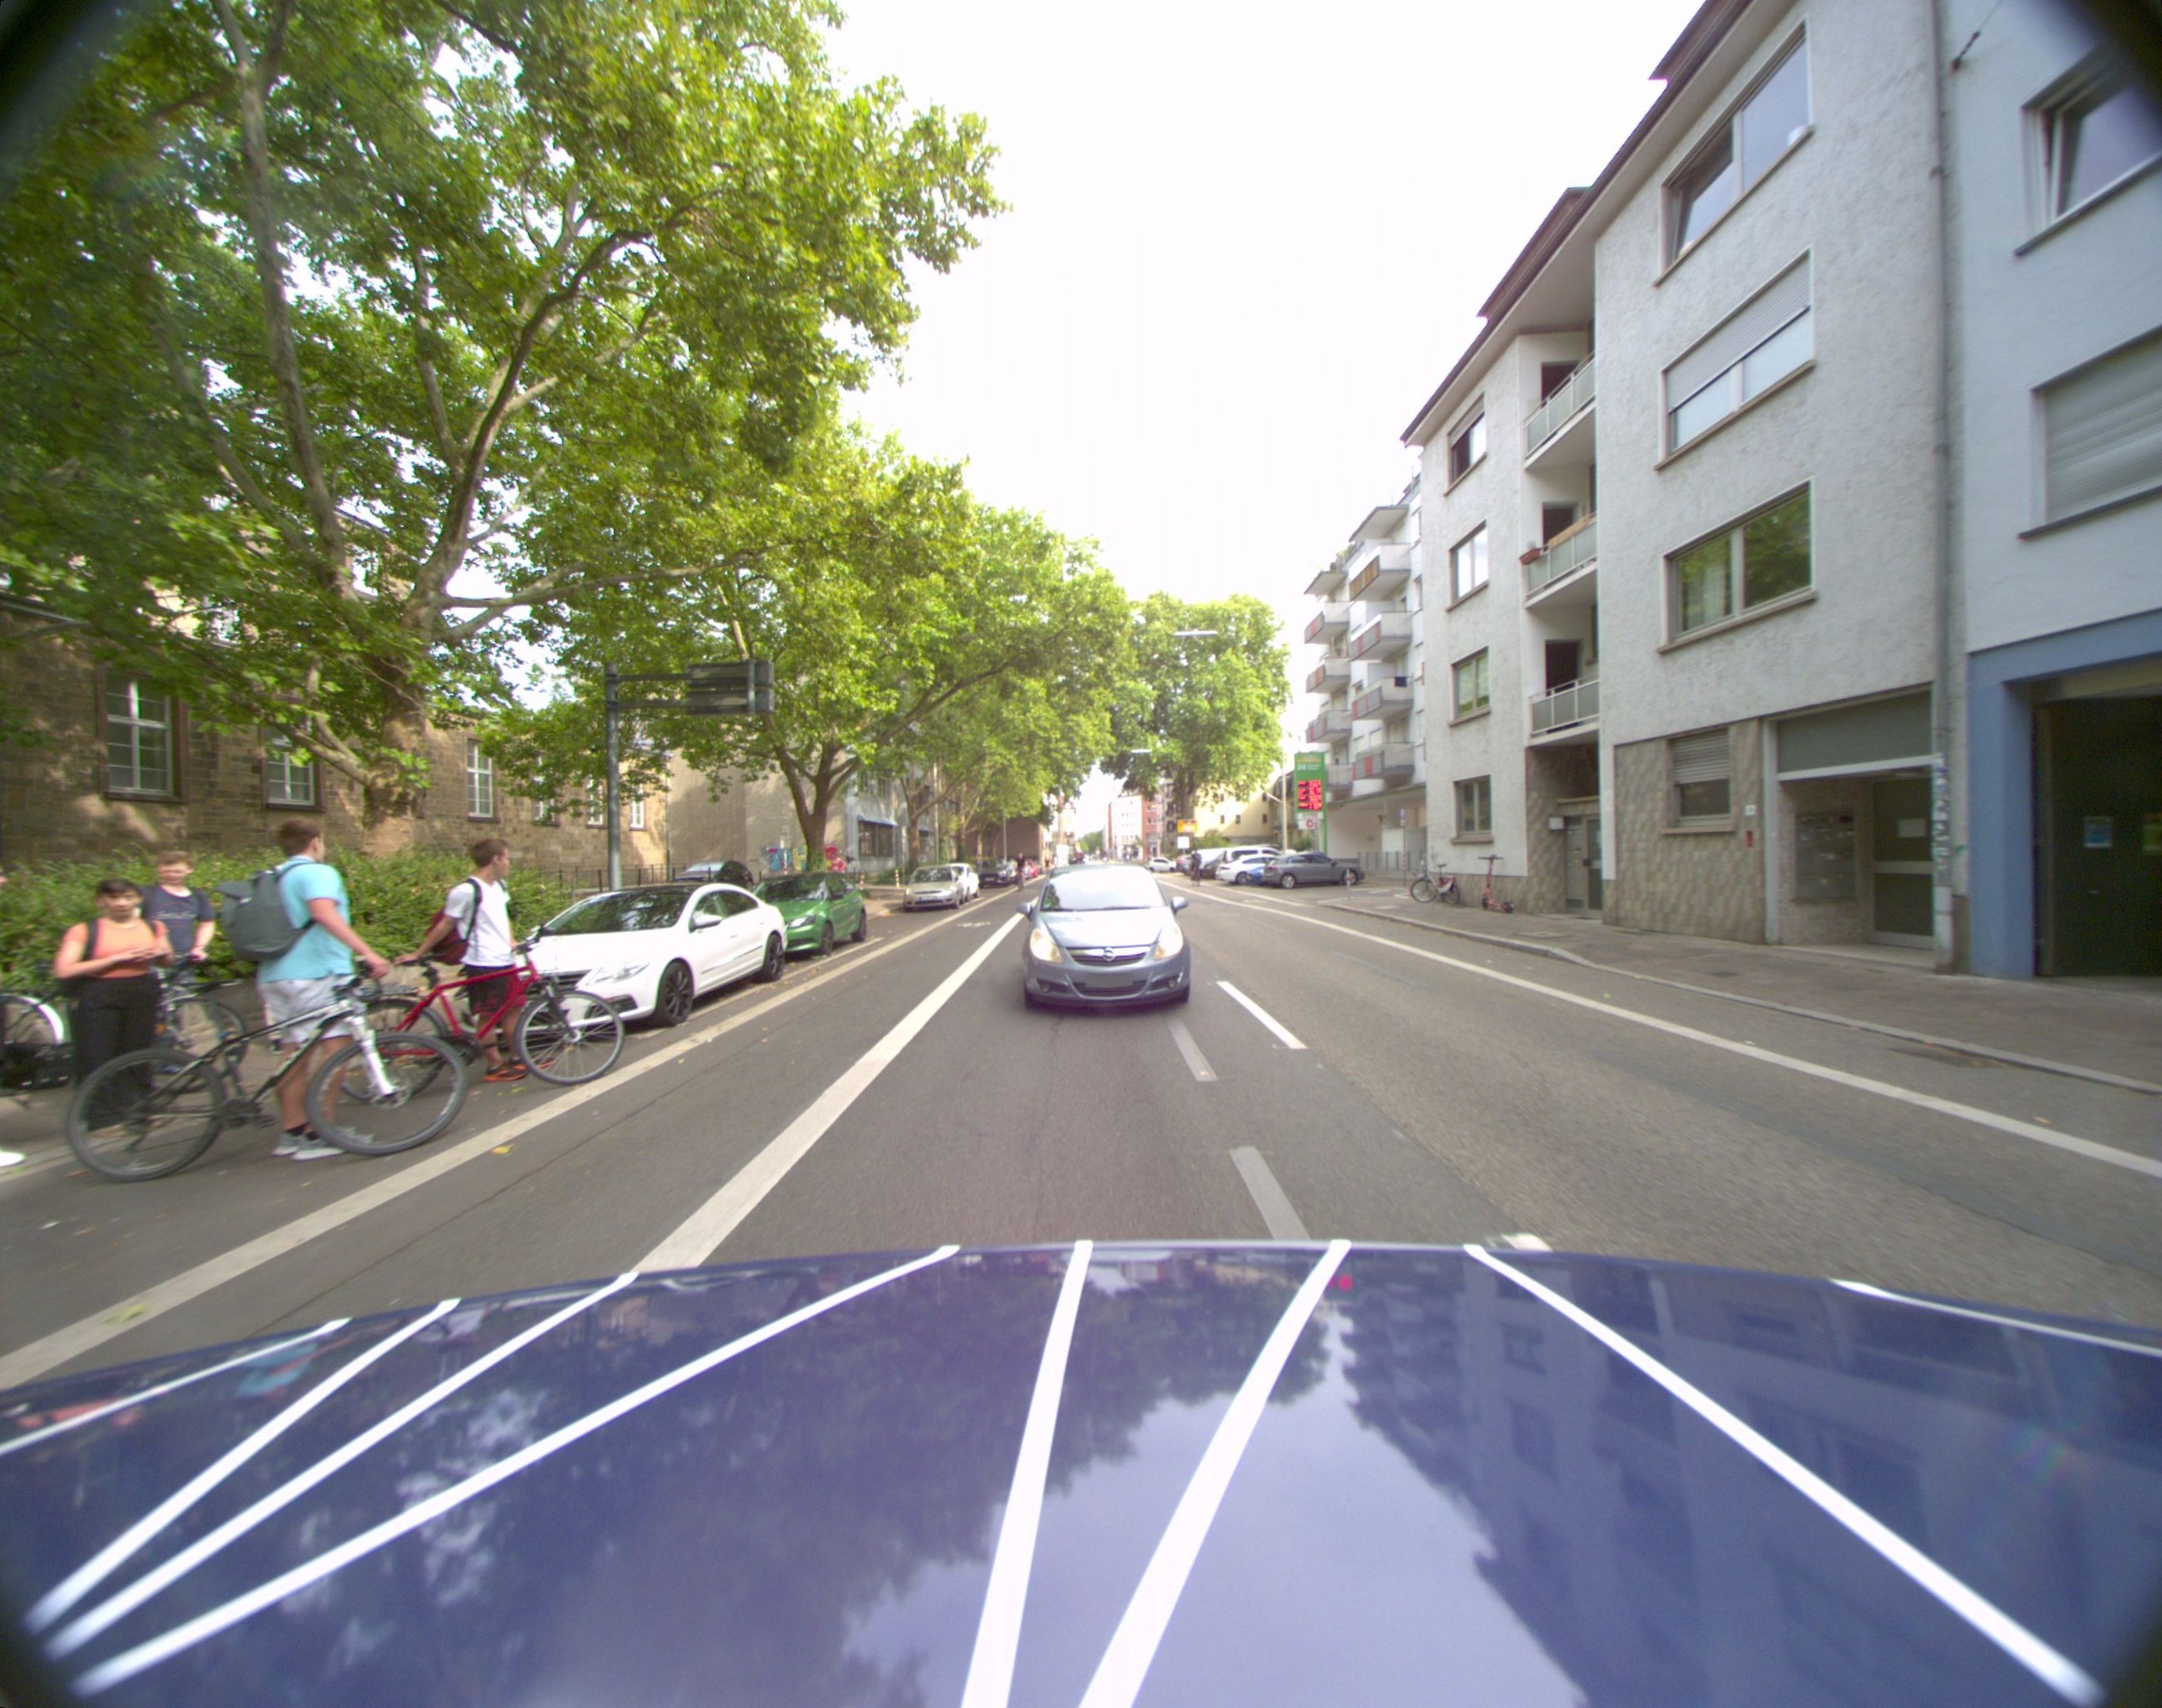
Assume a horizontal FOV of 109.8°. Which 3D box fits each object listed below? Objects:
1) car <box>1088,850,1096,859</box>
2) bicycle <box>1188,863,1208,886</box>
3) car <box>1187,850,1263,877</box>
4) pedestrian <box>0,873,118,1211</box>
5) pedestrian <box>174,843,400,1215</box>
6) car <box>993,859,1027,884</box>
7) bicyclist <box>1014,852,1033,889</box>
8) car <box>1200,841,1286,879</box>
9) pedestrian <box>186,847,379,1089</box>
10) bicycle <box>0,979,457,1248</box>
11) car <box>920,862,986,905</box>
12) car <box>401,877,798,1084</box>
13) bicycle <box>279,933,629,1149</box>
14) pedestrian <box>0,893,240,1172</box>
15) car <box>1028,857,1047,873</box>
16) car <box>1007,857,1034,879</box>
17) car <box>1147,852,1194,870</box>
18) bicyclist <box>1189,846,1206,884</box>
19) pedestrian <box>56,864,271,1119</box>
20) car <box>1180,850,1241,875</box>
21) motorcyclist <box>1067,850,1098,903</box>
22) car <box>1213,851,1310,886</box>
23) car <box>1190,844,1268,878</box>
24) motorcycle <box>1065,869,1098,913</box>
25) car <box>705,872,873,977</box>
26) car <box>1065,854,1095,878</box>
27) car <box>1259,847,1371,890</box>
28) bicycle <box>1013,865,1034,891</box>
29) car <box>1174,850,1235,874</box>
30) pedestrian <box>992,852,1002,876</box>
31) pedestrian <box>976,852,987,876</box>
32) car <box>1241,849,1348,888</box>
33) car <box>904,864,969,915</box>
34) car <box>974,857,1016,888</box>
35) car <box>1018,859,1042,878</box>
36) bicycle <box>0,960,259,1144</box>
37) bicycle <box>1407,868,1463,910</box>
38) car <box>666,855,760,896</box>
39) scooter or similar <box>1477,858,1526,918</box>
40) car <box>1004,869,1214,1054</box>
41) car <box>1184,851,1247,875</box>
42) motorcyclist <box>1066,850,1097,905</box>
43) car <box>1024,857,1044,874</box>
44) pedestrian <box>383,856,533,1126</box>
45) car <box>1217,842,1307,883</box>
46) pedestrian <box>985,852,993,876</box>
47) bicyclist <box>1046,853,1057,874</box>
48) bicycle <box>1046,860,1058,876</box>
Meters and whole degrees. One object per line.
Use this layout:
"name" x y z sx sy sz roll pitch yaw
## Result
"car" 2.968 0.152 208.362 1.998 2.546 4.799 -2 0 1
"bicycle" 5.735 1.000 37.375 0.647 1.008 2.076 -2 1 0
"car" 9.745 0.624 51.647 4.716 1.461 1.874 -4 0 1
"pedestrian" -6.299 1.039 4.190 0.873 1.806 0.780 -2 1 0
"pedestrian" -4.491 0.911 4.359 0.476 1.923 0.744 -3 1 -11
"car" -4.543 1.080 49.143 1.644 1.424 4.573 -3 0 1
"bicyclist" -2.744 0.777 36.104 0.764 1.698 0.917 -2 1 1
"car" 9.894 0.363 46.740 4.778 1.923 1.994 -4 0 1
"pedestrian" -7.002 0.952 6.709 0.795 1.986 0.750 -2 1 0
"bicycle" -4.552 1.330 4.093 1.740 1.099 0.552 -2 1 -11
"car" -5.002 1.115 30.140 1.758 1.438 4.218 -3 0 1
"car" -4.930 1.140 8.728 1.685 1.507 4.543 -4 0 -2
"bicycle" -4.327 1.254 5.394 1.796 1.210 0.552 -3 1 -17
"pedestrian" -6.272 1.111 4.968 0.723 1.648 0.655 -2 1 0
"car" -4.486 1.147 79.236 1.602 1.516 3.956 -3 0 1
"car" -4.687 1.071 59.092 1.602 1.496 4.440 -3 0 1
"car" 8.495 0.689 72.391 3.989 1.637 1.940 -1 0 43
"bicyclist" 5.719 0.531 37.338 0.653 1.800 1.045 -2 1 0
"pedestrian" -7.129 1.021 5.947 0.723 1.844 0.703 -2 1 0
"car" 9.892 0.639 58.268 4.372 1.540 1.733 -4 0 1
"motorcyclist" 0.048 0.686 23.573 0.904 1.608 0.691 -1 1 1
"car" 8.817 0.697 37.354 4.282 1.442 1.874 -4 0 1
"car" 9.517 0.463 49.209 4.627 1.848 1.950 -4 0 1
"motorcycle" 0.026 1.078 22.865 0.904 1.190 2.630 -1 0 1
"car" -5.070 1.152 13.769 1.591 1.441 3.805 -4 0 -2
"car" -0.069 0.822 53.957 2.000 1.556 4.550 -2 0 0
"car" 9.997 0.610 32.685 4.161 1.504 1.837 -4 0 1
"bicycle" -2.731 1.132 36.091 0.763 1.162 1.949 -2 0 1
"car" 9.825 0.626 60.583 4.529 1.596 1.754 -4 0 1
"pedestrian" -6.275 0.767 56.808 0.592 1.775 0.476 2 1 -1
"pedestrian" -7.498 0.751 57.192 0.644 1.823 0.645 2 1 -1
"car" 9.753 0.647 34.896 4.311 1.442 1.910 -4 0 1
"car" -4.772 1.126 25.530 1.647 1.438 3.881 -3 0 -4
"car" -4.878 1.015 43.509 1.926 1.612 4.480 -3 0 -1
"car" -4.274 1.205 64.255 1.602 1.438 4.105 -3 0 1
"bicycle" -7.239 1.423 5.495 1.773 1.125 0.462 -2 1 -11
"bicycle" 8.838 0.852 19.022 0.598 0.945 1.662 -2 0 0
"car" -14.480 0.857 30.176 1.673 1.441 4.298 -2 -2 -1
"scooter or similar" 9.006 0.714 16.314 0.350 1.214 1.202 -2 0 0
"car" 0.245 0.937 8.471 1.717 1.412 4.253 -2 0 0
"car" 9.918 0.651 56.139 4.276 1.502 1.719 -4 0 1
"motorcyclist" 0.023 0.694 22.864 0.904 1.608 0.691 -1 1 1
"car" -4.565 1.127 74.524 1.602 1.516 3.956 -3 0 1
"pedestrian" -4.577 0.947 5.633 0.522 1.834 0.744 -3 1 -15
"car" 9.461 0.454 39.970 4.221 1.837 1.924 -4 0 1
"pedestrian" -6.882 0.775 56.834 0.502 1.775 0.527 2 1 -1
"bicyclist" -2.236 0.725 58.584 0.749 1.590 0.819 -2 1 1
"bicycle" -2.234 1.056 58.580 0.763 1.162 1.949 -2 0 1
